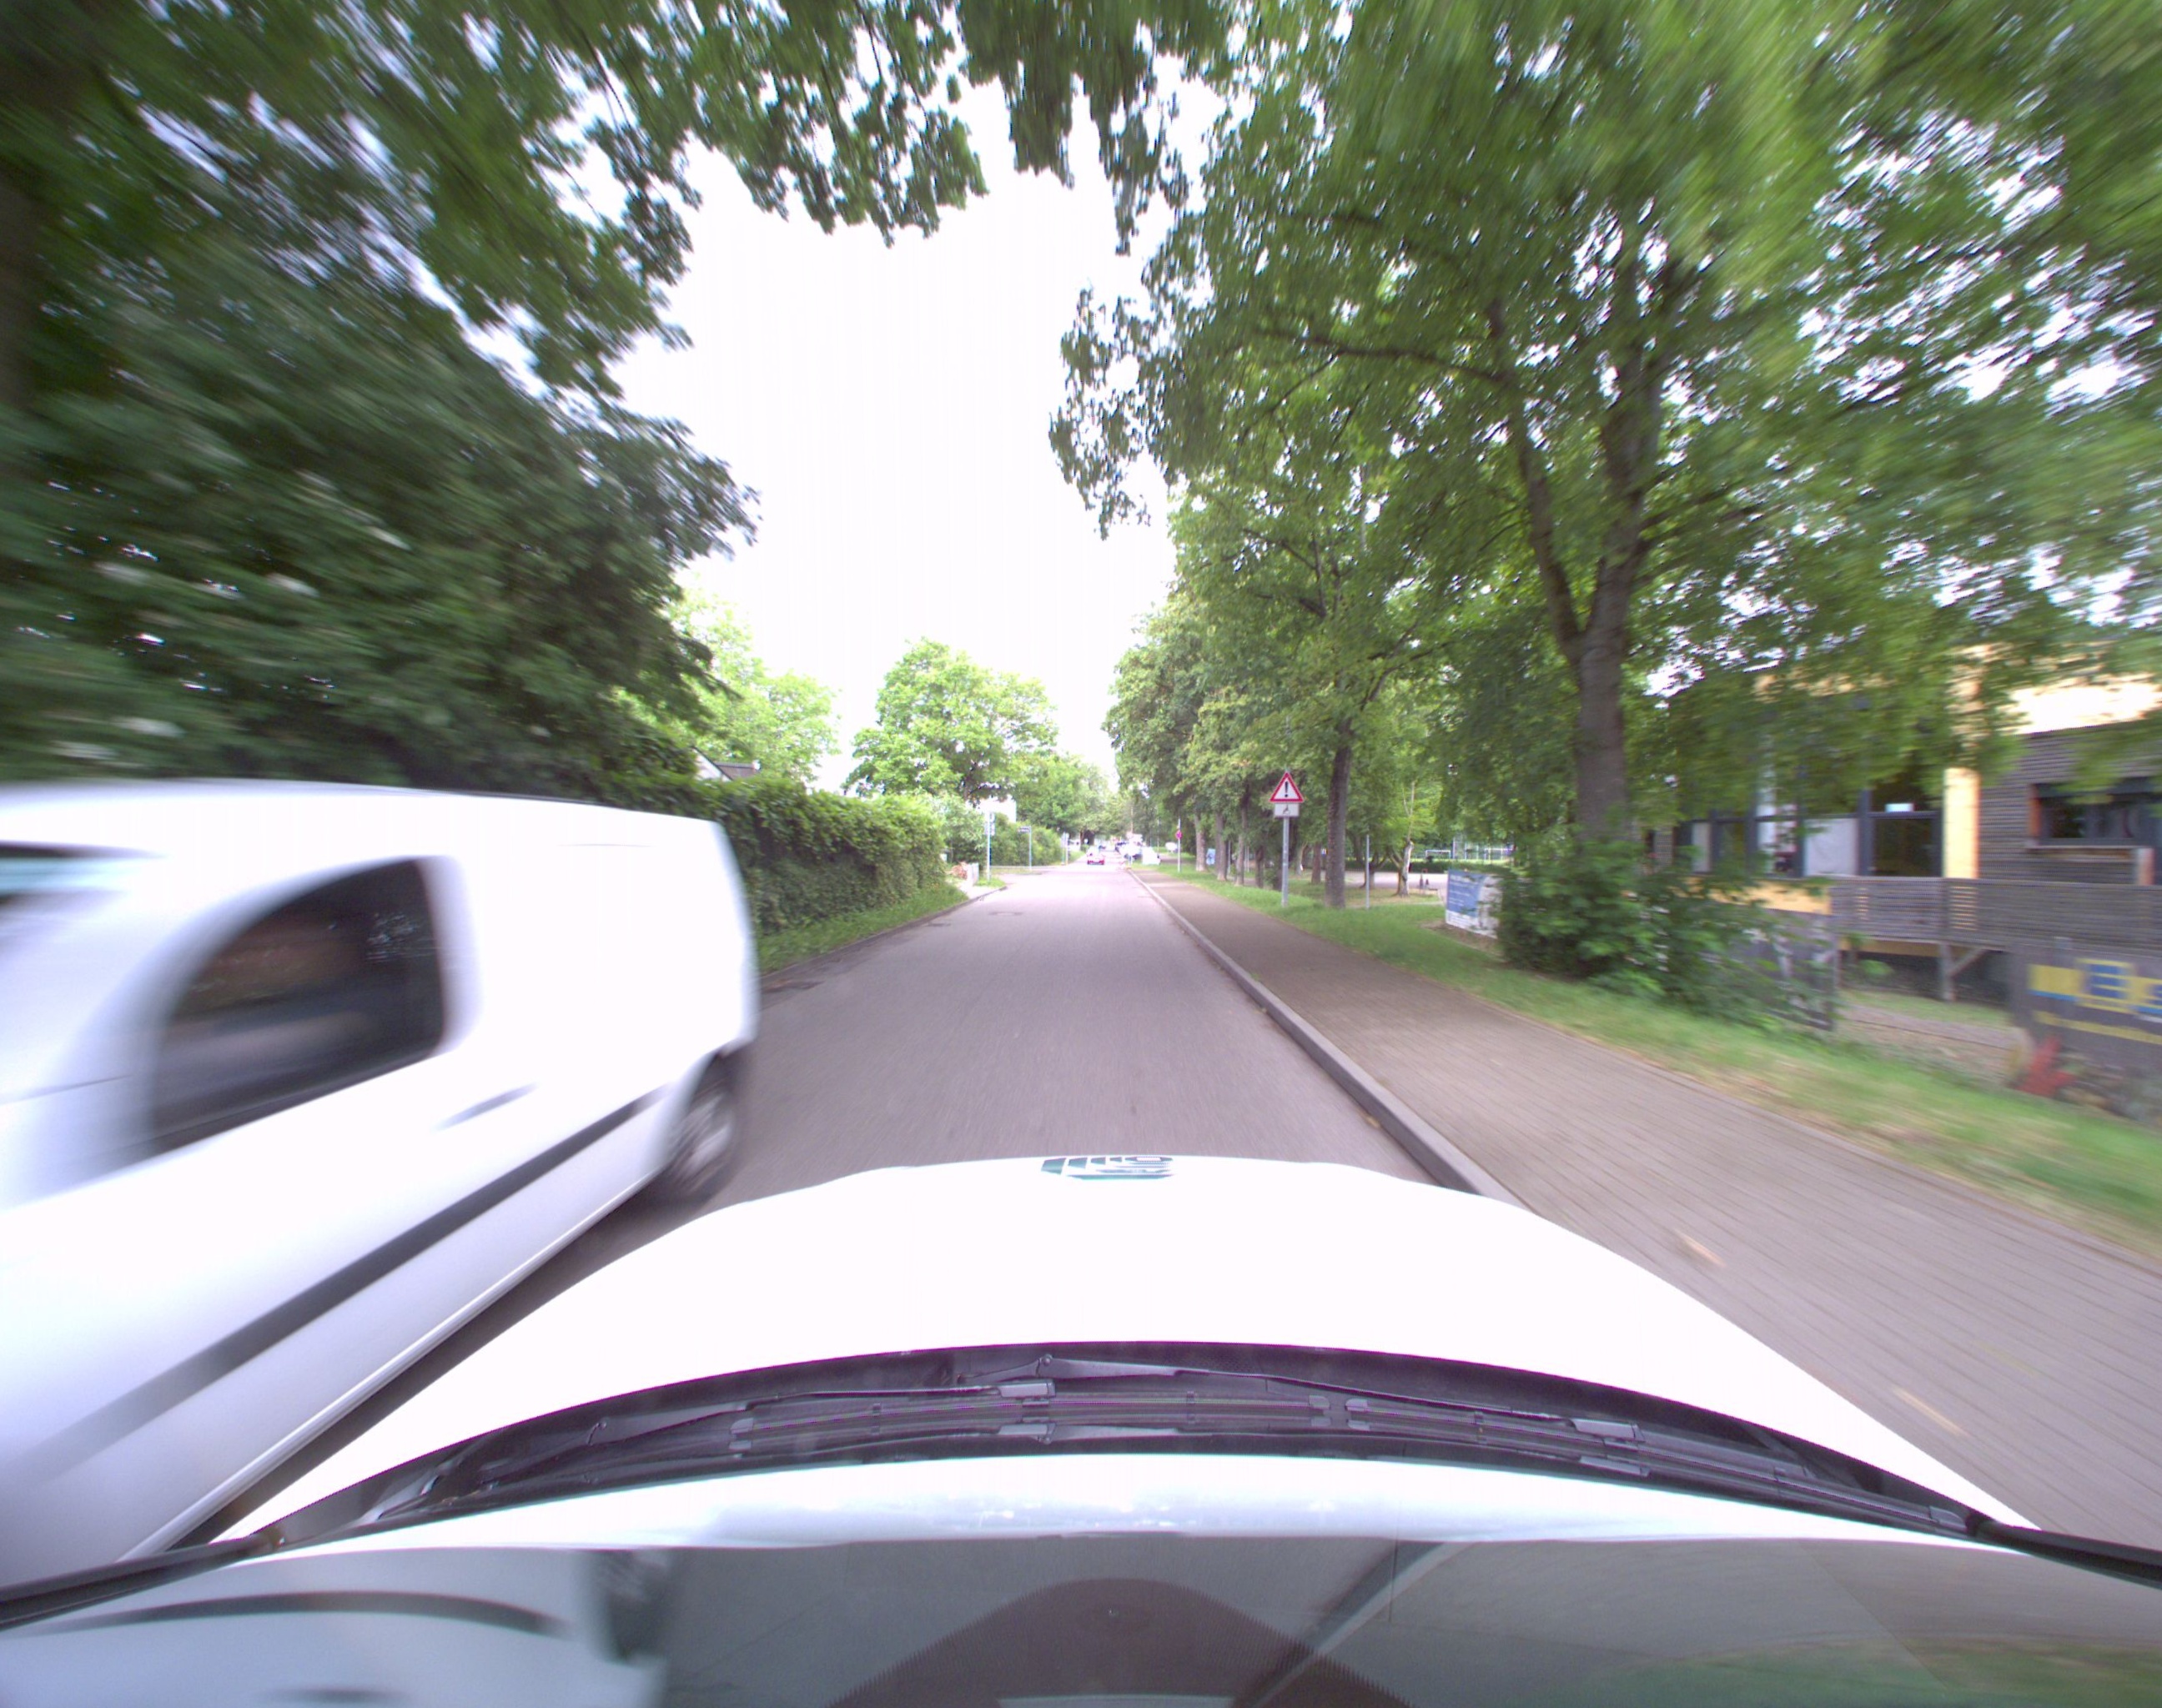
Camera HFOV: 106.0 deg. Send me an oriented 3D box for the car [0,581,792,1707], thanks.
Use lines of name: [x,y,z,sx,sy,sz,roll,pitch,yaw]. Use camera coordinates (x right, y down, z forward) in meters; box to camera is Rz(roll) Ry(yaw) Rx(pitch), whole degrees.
car: [-2.530,0.571,2.127,1.866,1.914,4.432,-1,-1,1]

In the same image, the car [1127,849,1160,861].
car: [7.843,0.147,101.993,4.049,1.434,2.000,-1,-1,1]

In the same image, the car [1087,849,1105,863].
car: [1.537,0.201,84.357,1.745,1.335,4.064,1,1,-1]

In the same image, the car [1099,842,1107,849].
car: [5.817,-2.131,213.881,1.962,1.747,4.339,1,1,1]
